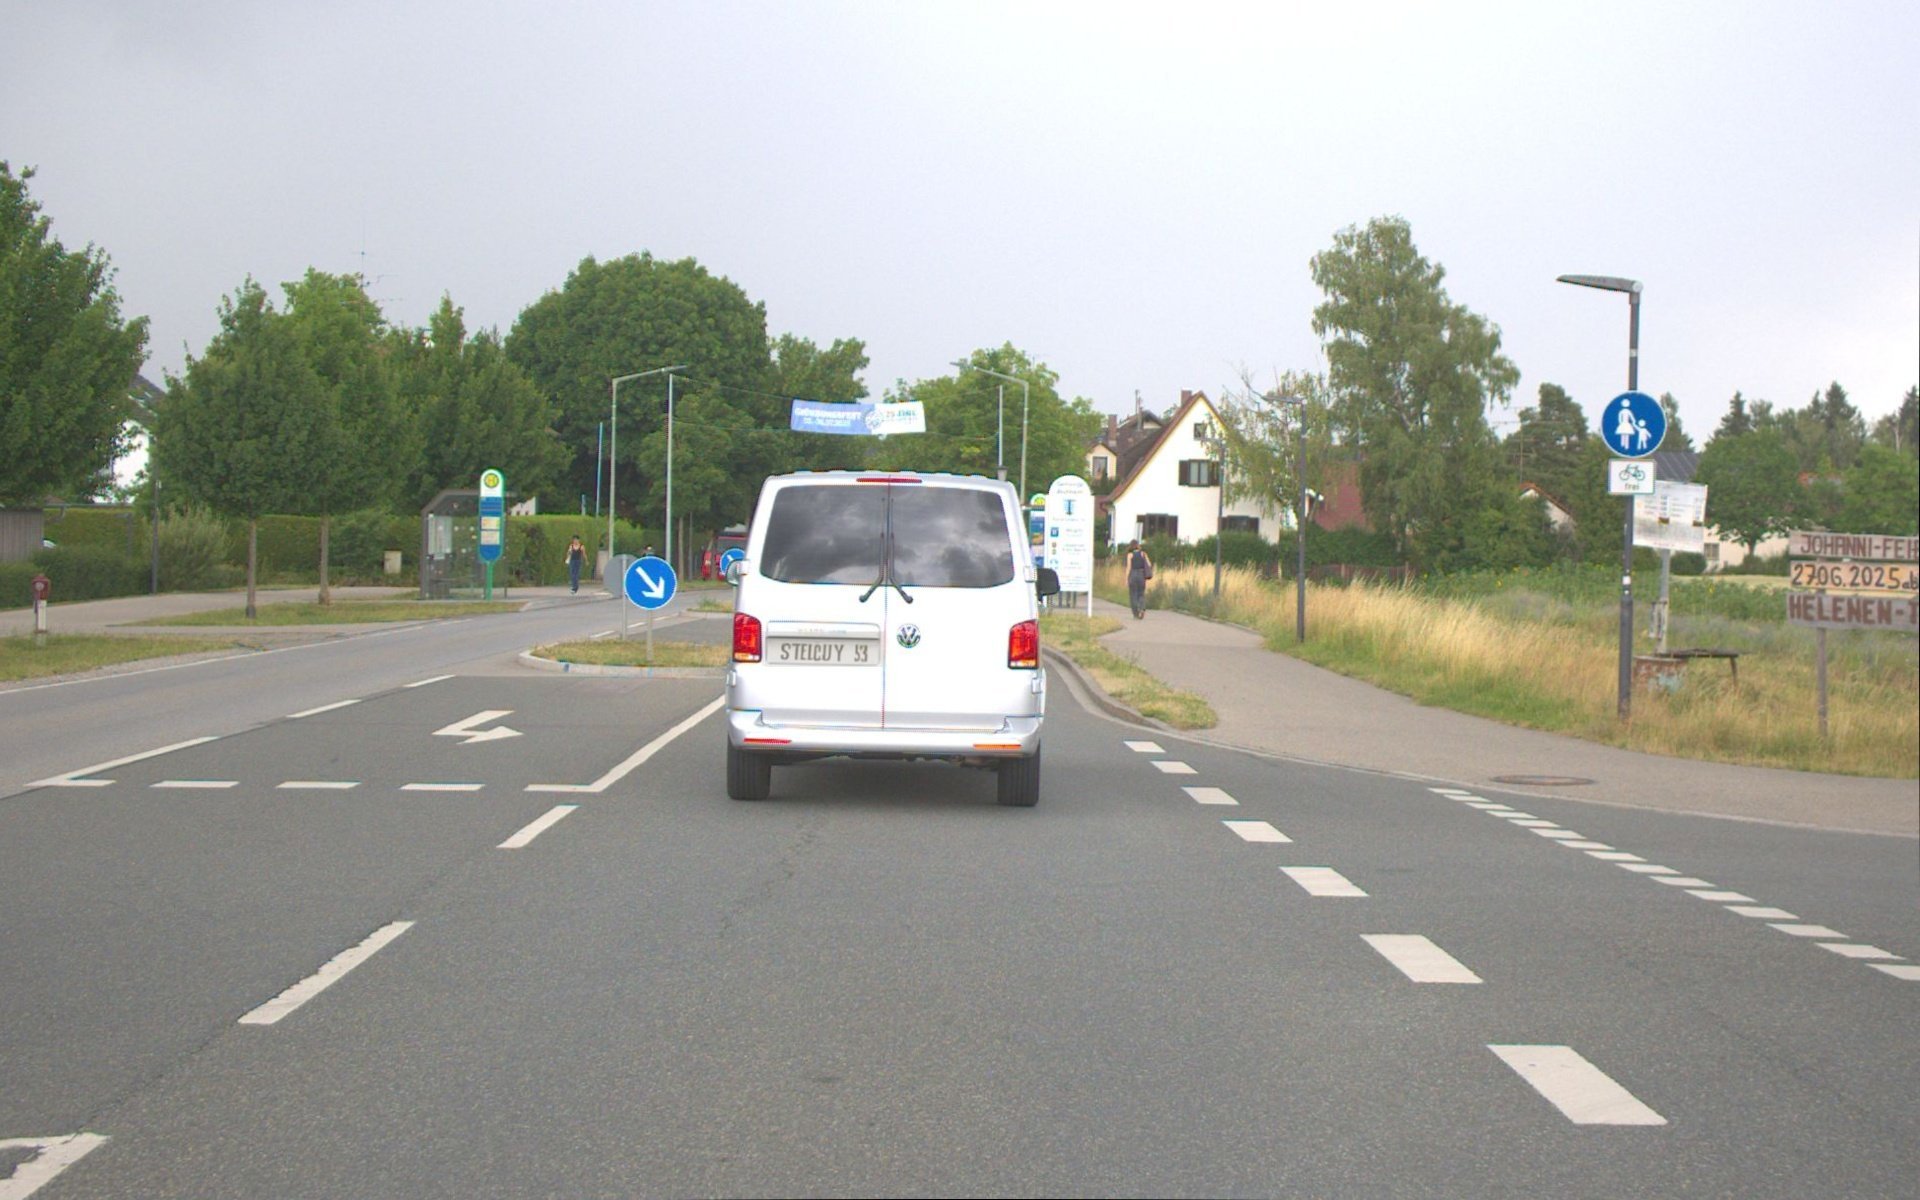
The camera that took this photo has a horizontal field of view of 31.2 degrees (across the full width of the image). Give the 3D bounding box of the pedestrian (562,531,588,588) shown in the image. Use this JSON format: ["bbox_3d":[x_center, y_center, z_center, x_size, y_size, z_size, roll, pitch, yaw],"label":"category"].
[{"bbox_3d":[-10.399,-1.100,92.767,0.623,1.519,0.680,0,1,-1],"label":"pedestrian"}]

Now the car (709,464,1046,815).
[{"bbox_3d":[-0.536,0.173,21.316,1.825,1.907,4.001,2,1,-2],"label":"car"}]

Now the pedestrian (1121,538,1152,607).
[{"bbox_3d":[3.889,-0.611,75.880,0.623,1.519,0.680,0,1,-1],"label":"pedestrian"}]

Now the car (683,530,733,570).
[{"bbox_3d":[-9.364,-1.882,128.004,1.653,1.424,3.603,0,1,-1],"label":"car"}]

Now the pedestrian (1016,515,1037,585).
[{"bbox_3d":[1.661,-1.254,85.790,0.485,1.726,0.642,0,1,-1],"label":"pedestrian"}]

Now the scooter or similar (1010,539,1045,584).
[{"bbox_3d":[1.683,-0.965,86.205,0.848,1.100,1.094,0,1,0],"label":"scooter or similar"}]
